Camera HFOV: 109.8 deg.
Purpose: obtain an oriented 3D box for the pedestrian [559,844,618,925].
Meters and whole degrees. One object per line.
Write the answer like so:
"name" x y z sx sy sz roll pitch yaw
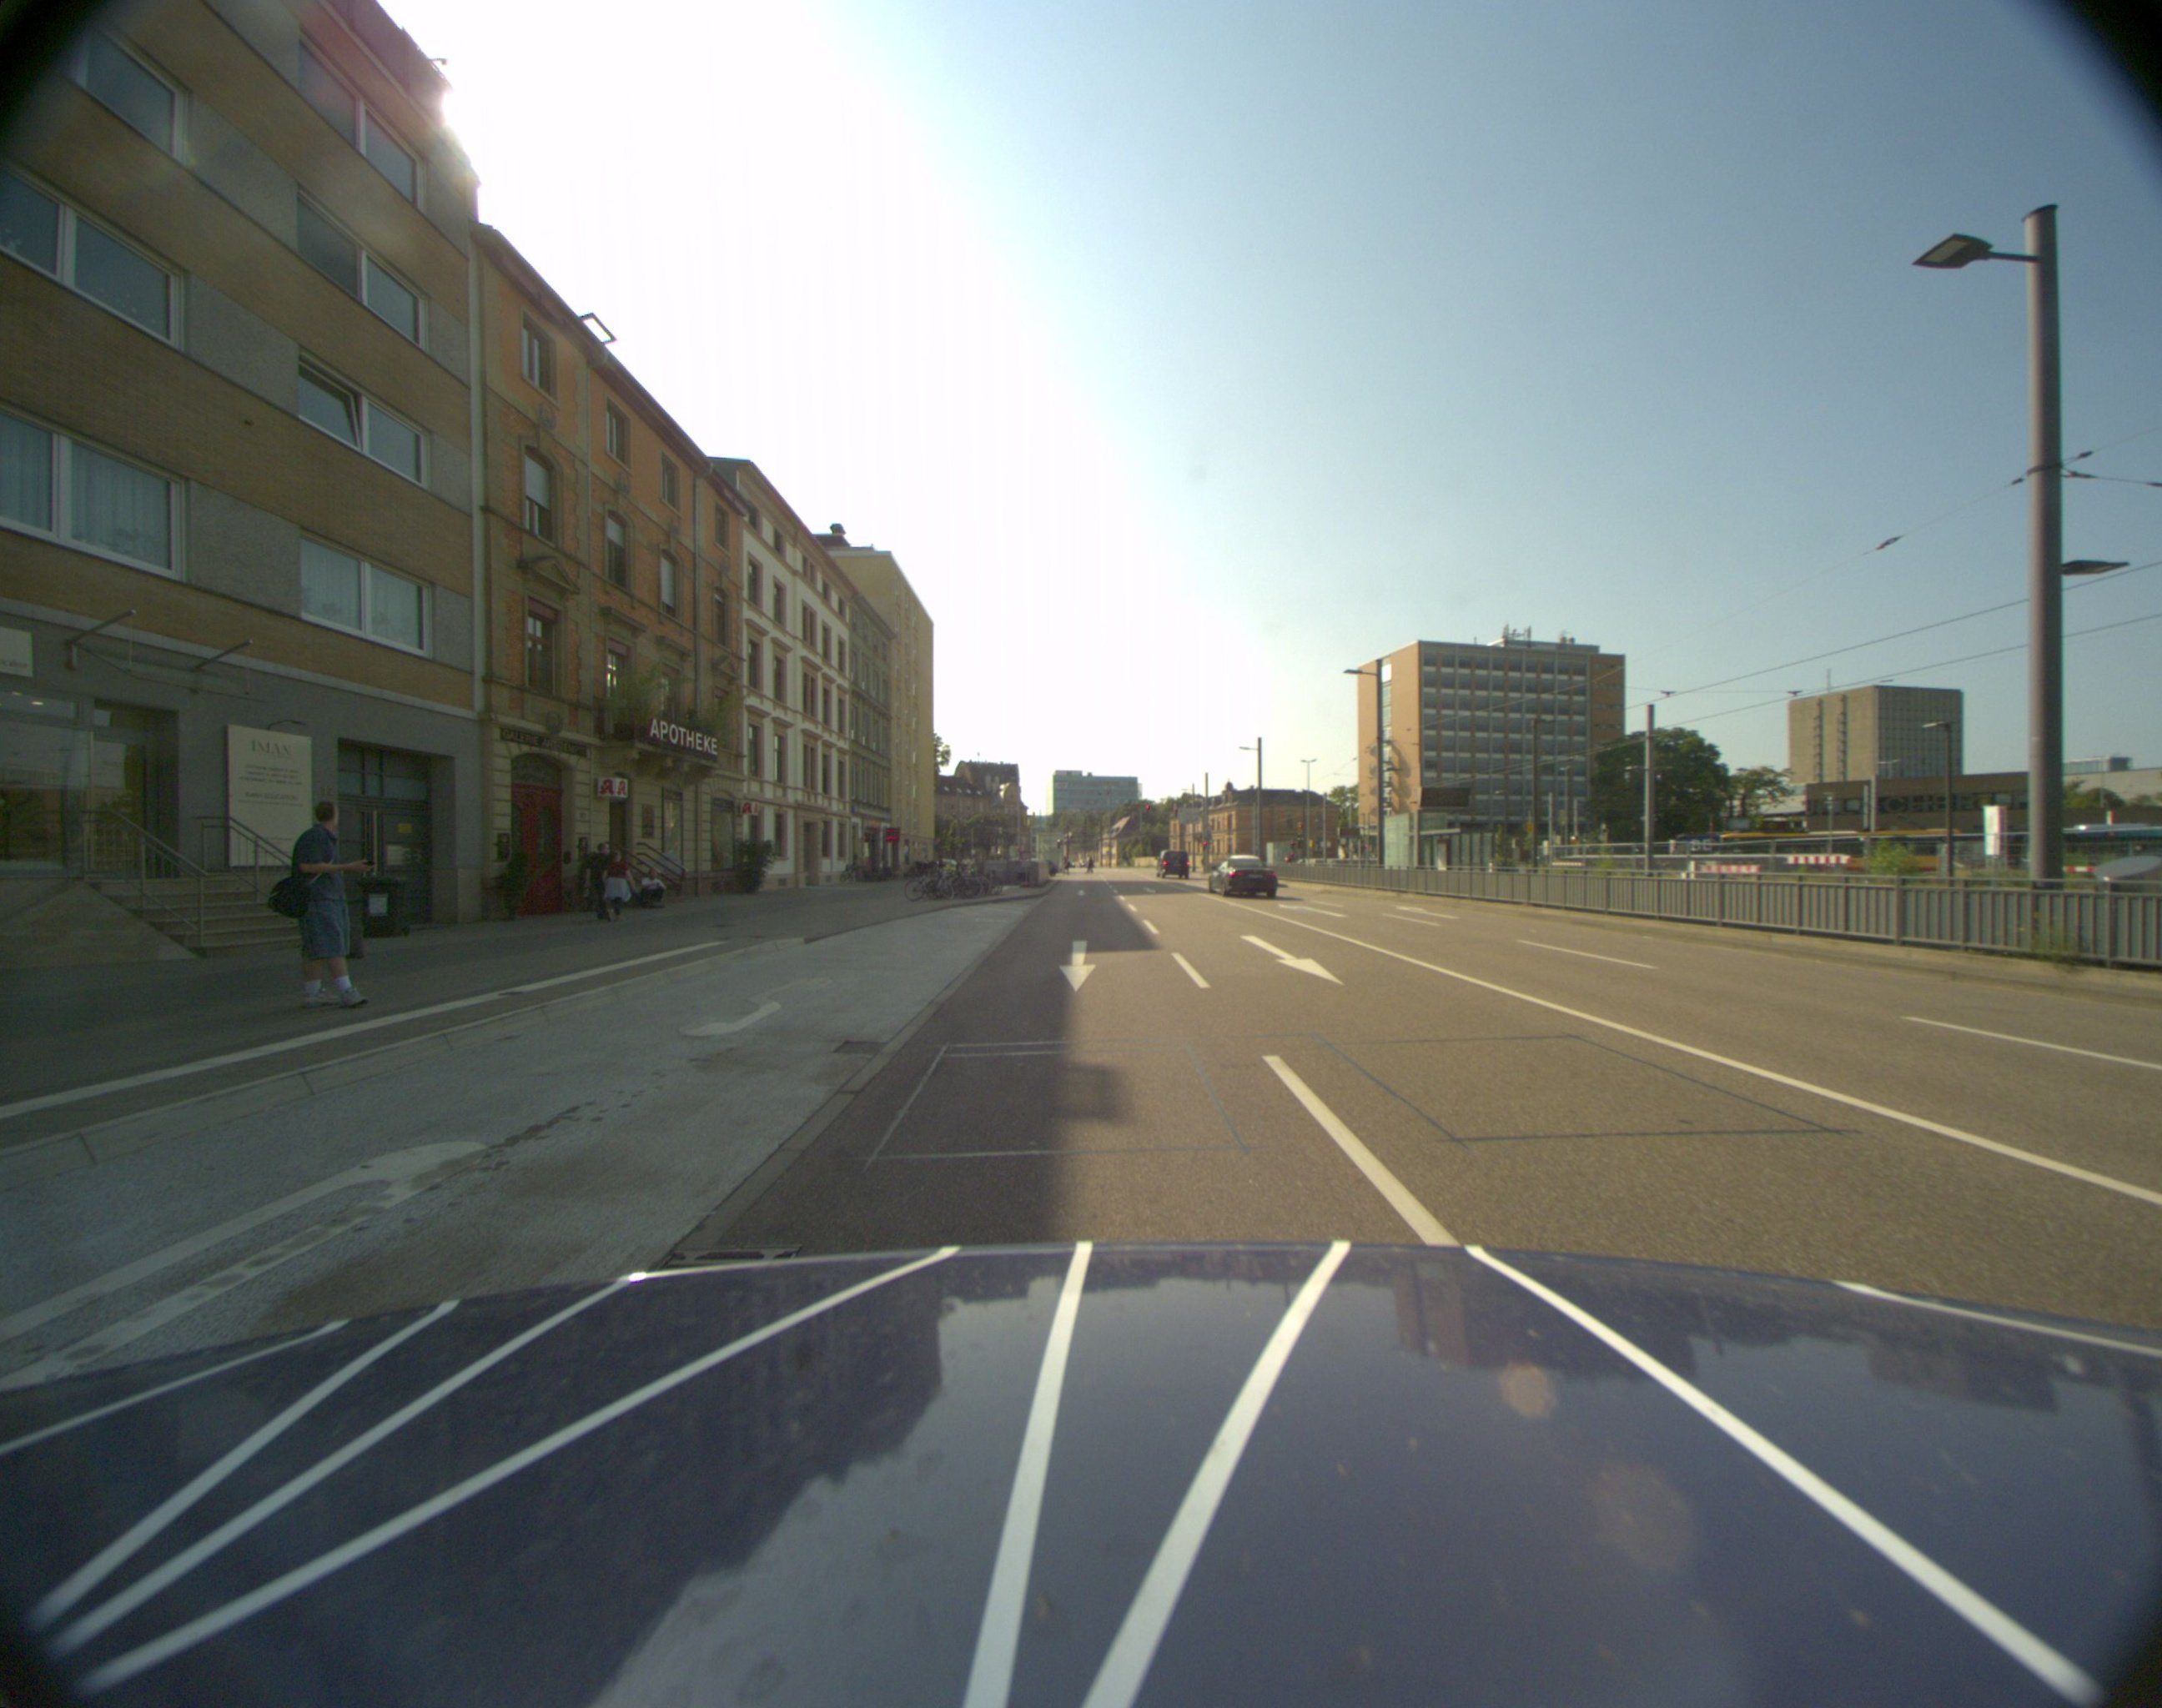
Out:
"pedestrian" -11.076 0.674 17.113 0.722 1.777 0.856 0 1 2

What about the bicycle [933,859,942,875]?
"bicycle" -11.538 1.046 61.182 0.604 1.254 1.996 0 0 -7

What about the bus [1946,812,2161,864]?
"bus" 70.703 -1.051 53.128 13.277 3.399 3.232 0 0 44

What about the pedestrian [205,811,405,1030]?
"pedestrian" -6.844 0.556 6.755 0.928 1.821 0.801 0 0 -3

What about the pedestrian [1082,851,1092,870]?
"pedestrian" 0.578 0.598 73.538 0.834 1.778 0.729 2 1 8

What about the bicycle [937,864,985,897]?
"bicycle" -4.263 0.929 27.046 1.637 1.142 0.385 0 1 -4

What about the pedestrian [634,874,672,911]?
"pedestrian" -11.618 1.038 20.643 0.612 0.976 0.637 0 1 20

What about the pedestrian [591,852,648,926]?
"pedestrian" -10.293 0.766 16.969 0.722 1.601 0.856 0 1 2

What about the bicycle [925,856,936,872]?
"bicycle" -12.494 0.823 63.087 0.604 1.254 1.849 0 0 0

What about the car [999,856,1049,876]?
"car" -4.374 0.921 58.412 3.535 1.455 1.618 -1 1 -41

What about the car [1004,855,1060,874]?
"car" -4.046 0.829 62.972 4.418 1.415 1.842 -1 1 -41

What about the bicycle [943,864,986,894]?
"bicycle" -4.566 0.978 29.809 1.637 1.142 0.385 0 1 -4

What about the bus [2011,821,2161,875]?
"bus" 64.574 -0.350 43.975 13.277 3.160 3.232 0 0 44

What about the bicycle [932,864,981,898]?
"bicycle" -4.320 0.934 26.471 1.637 1.142 0.385 0 1 -4

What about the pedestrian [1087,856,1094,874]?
"pedestrian" 0.876 1.016 69.386 0.634 1.588 0.468 2 1 -1

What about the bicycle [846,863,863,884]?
"bicycle" -12.743 1.085 42.799 0.384 1.127 1.719 0 0 1

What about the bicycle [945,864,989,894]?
"bicycle" -4.400 0.977 29.326 1.637 1.142 0.385 0 1 -4

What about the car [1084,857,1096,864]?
"car" 1.720 1.141 141.914 1.693 1.319 3.997 0 0 -7

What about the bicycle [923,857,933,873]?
"bicycle" -12.190 0.864 60.650 0.604 1.254 1.996 0 0 -7

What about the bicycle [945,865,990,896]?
"bicycle" -4.254 0.984 28.522 1.637 1.142 0.385 0 1 -4

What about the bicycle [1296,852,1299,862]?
"bicycle" 24.327 0.365 85.377 0.376 1.158 1.861 0 0 16

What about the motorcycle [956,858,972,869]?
"motorcycle" -12.305 1.038 80.029 0.704 1.140 2.304 0 0 16

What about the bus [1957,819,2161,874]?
"bus" 66.549 -0.467 48.752 13.277 3.399 3.232 0 0 44

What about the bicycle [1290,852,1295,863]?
"bicycle" 22.971 0.383 82.629 0.402 1.103 1.748 0 0 11

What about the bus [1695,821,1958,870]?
"bus" 53.157 -0.531 54.988 13.277 3.160 3.232 0 0 44

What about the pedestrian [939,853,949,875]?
"pedestrian" -10.592 0.768 58.561 0.610 1.619 0.737 0 1 1

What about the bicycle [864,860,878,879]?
"bicycle" -12.762 0.949 46.205 0.384 1.127 1.719 0 0 1

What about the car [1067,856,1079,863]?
"car" -1.587 1.011 145.450 1.927 1.368 3.997 0 0 -7

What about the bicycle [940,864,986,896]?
"bicycle" -4.307 0.961 27.856 1.637 1.142 0.385 0 1 -4

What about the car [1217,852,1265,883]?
"car" 8.809 0.702 42.278 1.717 1.602 4.504 1 0 0

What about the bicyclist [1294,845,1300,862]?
"bicyclist" 24.299 -0.043 85.486 0.580 1.963 0.808 0 0 15

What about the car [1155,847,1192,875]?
"car" 6.456 0.468 53.605 1.998 1.893 4.716 1 0 0

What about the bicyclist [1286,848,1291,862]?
"bicyclist" 23.223 0.116 84.990 0.511 1.620 0.808 0 0 15

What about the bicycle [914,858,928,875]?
"bicycle" -12.189 0.912 57.875 0.604 1.254 1.997 0 0 0

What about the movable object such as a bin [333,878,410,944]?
"movable object such as a bin" -12.212 0.967 13.104 0.739 1.074 0.669 0 0 -16

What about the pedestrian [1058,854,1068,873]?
"pedestrian" -1.698 0.898 71.184 0.816 1.683 0.651 2 1 1

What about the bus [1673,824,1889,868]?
"bus" 58.920 -0.577 64.633 13.277 3.399 3.232 0 0 44

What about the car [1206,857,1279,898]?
"car" 5.831 0.809 27.947 1.717 1.323 4.521 1 0 0

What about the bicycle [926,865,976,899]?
"bicycle" -4.382 0.938 25.698 1.637 1.142 0.385 0 1 -4

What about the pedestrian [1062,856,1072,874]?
"pedestrian" -1.213 0.970 66.983 0.810 1.539 0.548 2 1 2

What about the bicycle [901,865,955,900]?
"bicycle" -5.054 0.930 25.128 1.636 1.142 0.601 0 1 2

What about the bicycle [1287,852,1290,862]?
"bicycle" 23.218 0.346 85.061 0.311 1.158 1.501 0 0 16

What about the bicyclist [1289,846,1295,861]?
"bicyclist" 22.957 -0.014 82.617 0.588 1.647 0.791 0 1 12

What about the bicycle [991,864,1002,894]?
"bicycle" -3.319 0.969 29.992 0.408 1.142 1.655 0 0 -5

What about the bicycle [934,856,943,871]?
"bicycle" -12.435 0.831 66.203 0.470 1.254 1.636 0 0 0
